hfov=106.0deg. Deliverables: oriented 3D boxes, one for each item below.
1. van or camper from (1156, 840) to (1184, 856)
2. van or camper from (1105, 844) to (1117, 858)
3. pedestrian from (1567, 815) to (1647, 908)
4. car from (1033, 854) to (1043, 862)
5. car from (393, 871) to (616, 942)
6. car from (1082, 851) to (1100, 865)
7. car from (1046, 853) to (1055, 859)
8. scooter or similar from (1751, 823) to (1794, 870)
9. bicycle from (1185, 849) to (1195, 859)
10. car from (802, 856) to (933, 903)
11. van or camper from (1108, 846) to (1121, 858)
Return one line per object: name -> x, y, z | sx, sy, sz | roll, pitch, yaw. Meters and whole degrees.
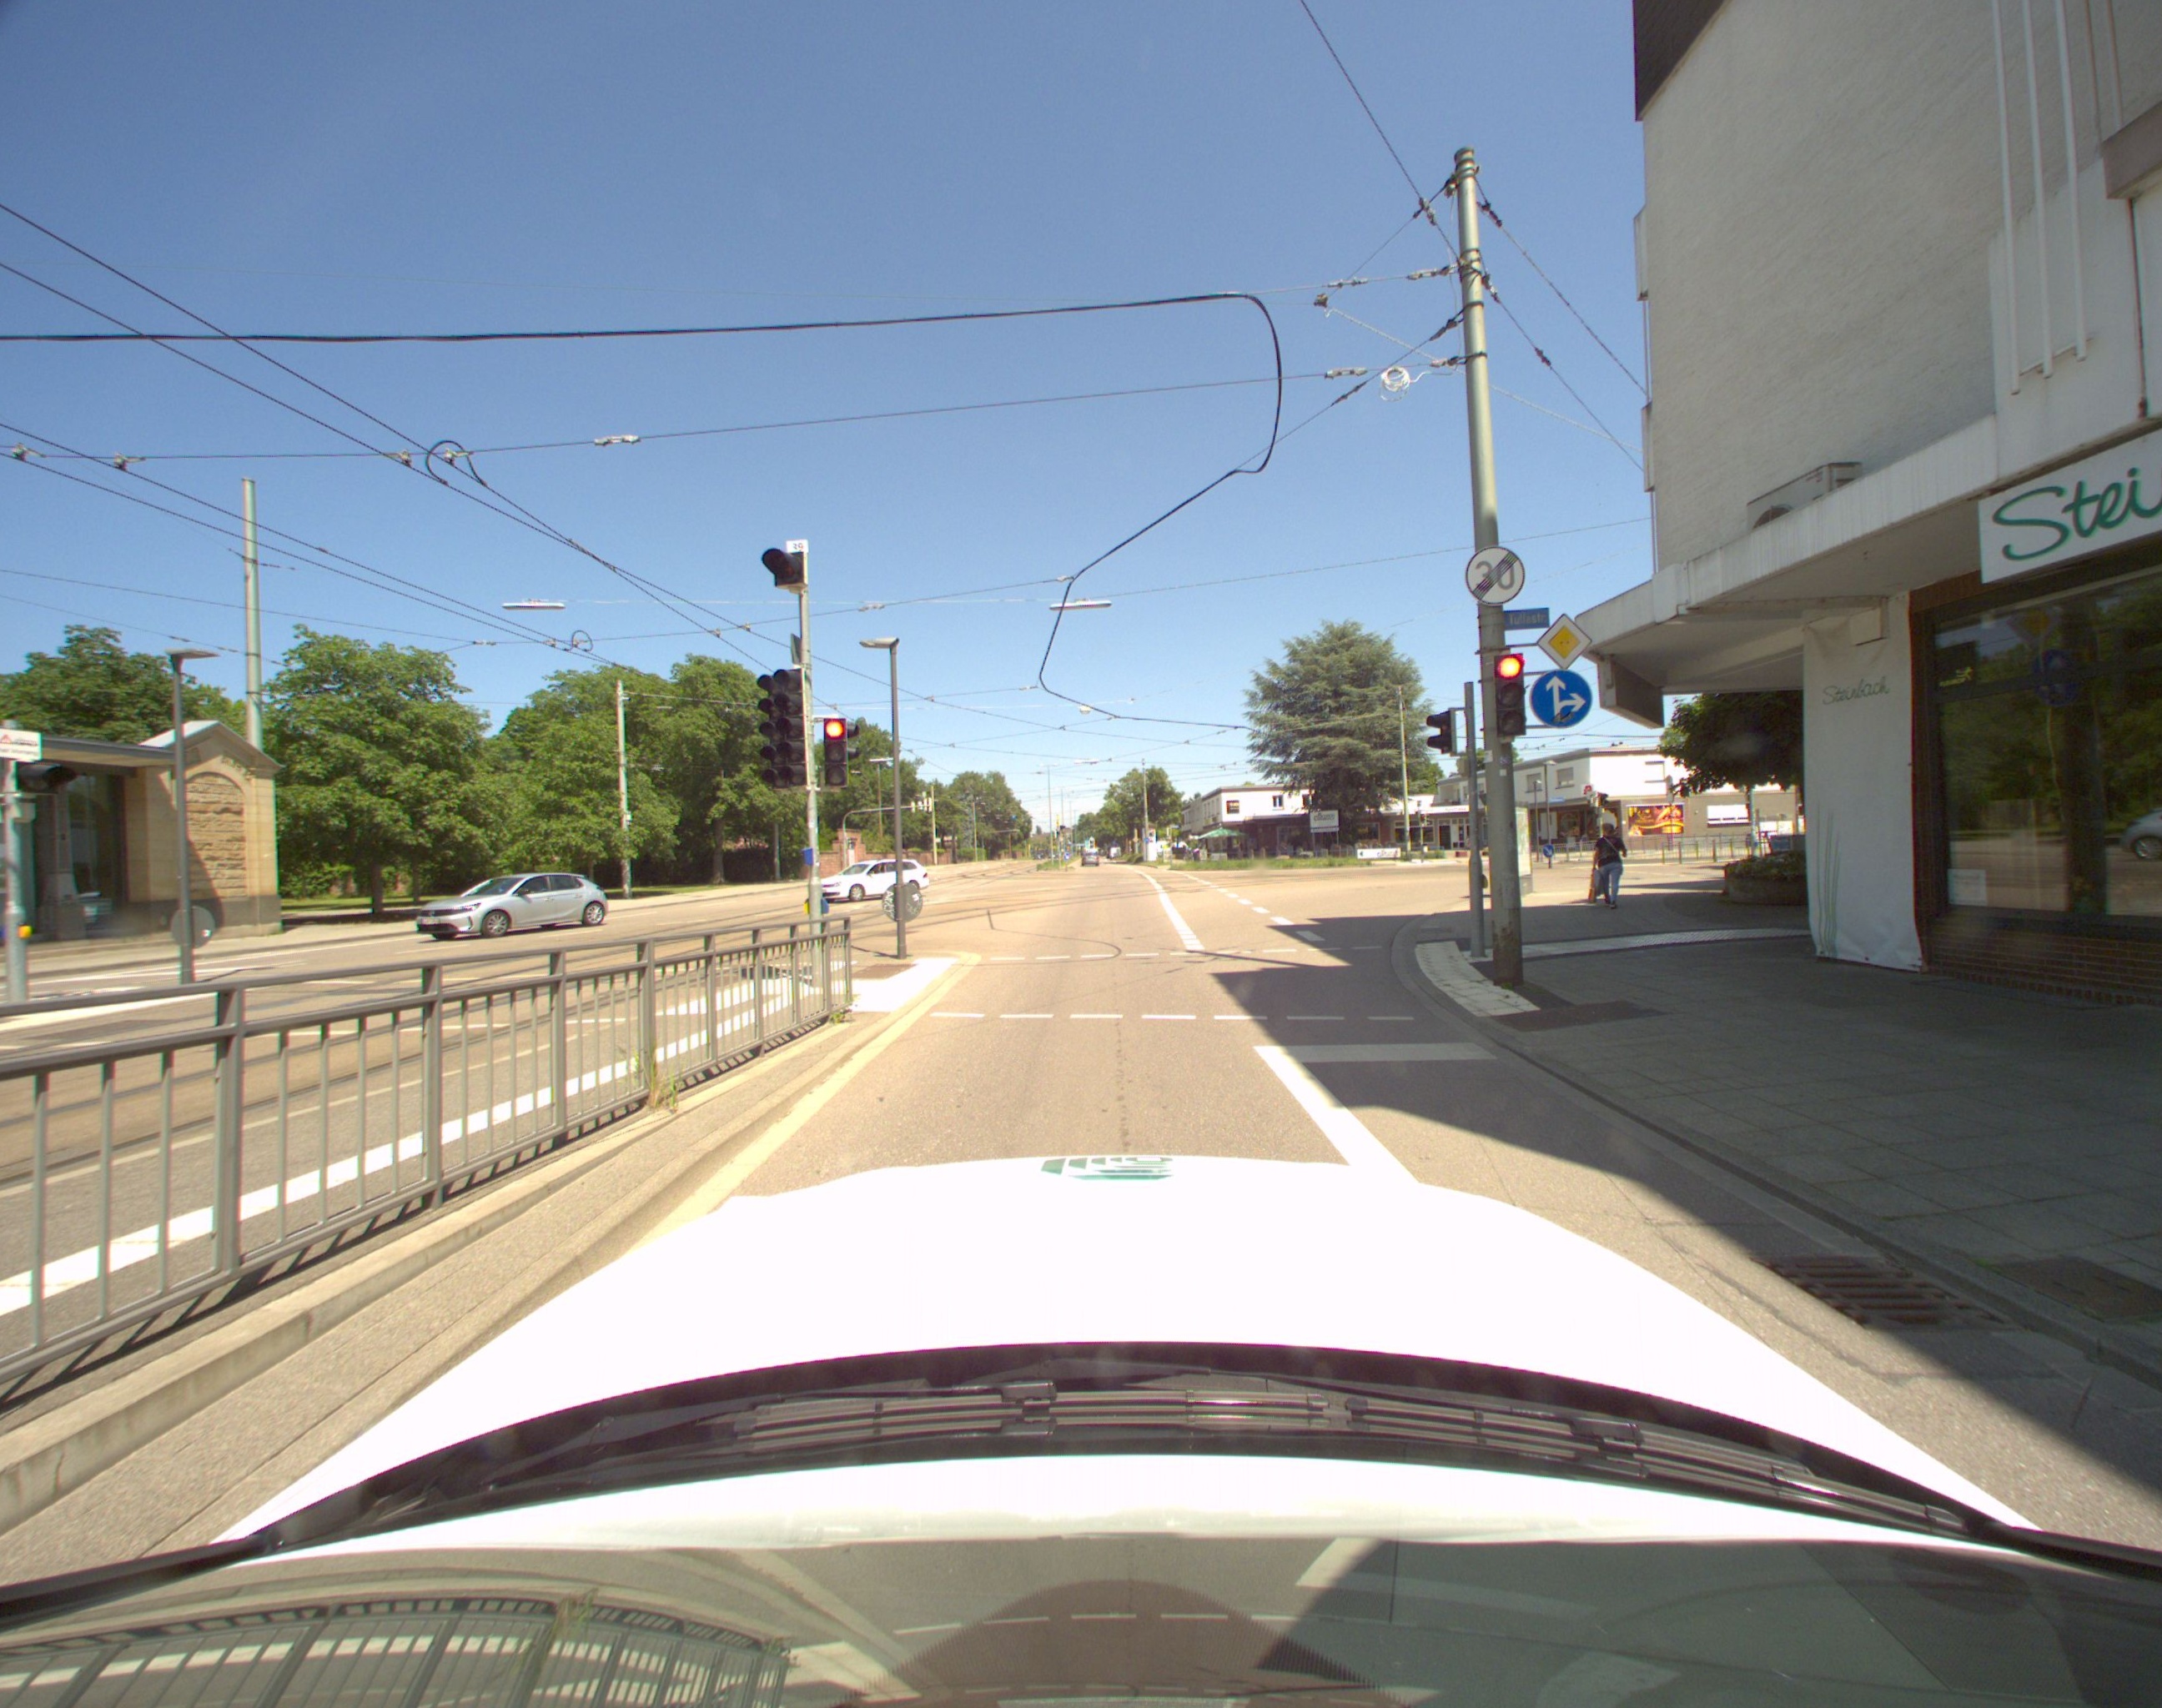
van or camper -> 15.639, -1.035, 143.273 | 4.742, 2.671, 2.135 | -2, 0, -1
van or camper -> 5.600, -0.516, 152.963 | 1.988, 2.464, 3.998 | -2, 0, -2
pedestrian -> 9.624, 0.142, 14.930 | 0.822, 1.583, 0.828 | -6, -1, 7
car -> -9.242, 0.787, 175.266 | 1.813, 1.603, 4.522 | -2, 0, 2
car -> -13.629, 1.186, 19.585 | 1.803, 1.362, 4.070 | -2, 0, 18
car -> 1.005, 0.425, 85.146 | 1.632, 1.351, 3.839 | -2, 0, -2
car -> -6.872, 0.434, 186.328 | 1.634, 1.421, 4.171 | -2, 0, 3
scooter or similar -> 18.806, -0.209, 22.140 | 1.258, 1.212, 0.391 | -2, 0, -26
bicycle -> 11.310, -0.026, 84.423 | 1.028, 1.014, 2.643 | -2, 0, 8
car -> -7.808, 0.916, 30.220 | 1.800, 1.489, 4.528 | -2, 0, 37
van or camper -> 5.374, -0.323, 130.481 | 1.915, 1.772, 4.001 | -2, 0, 2
